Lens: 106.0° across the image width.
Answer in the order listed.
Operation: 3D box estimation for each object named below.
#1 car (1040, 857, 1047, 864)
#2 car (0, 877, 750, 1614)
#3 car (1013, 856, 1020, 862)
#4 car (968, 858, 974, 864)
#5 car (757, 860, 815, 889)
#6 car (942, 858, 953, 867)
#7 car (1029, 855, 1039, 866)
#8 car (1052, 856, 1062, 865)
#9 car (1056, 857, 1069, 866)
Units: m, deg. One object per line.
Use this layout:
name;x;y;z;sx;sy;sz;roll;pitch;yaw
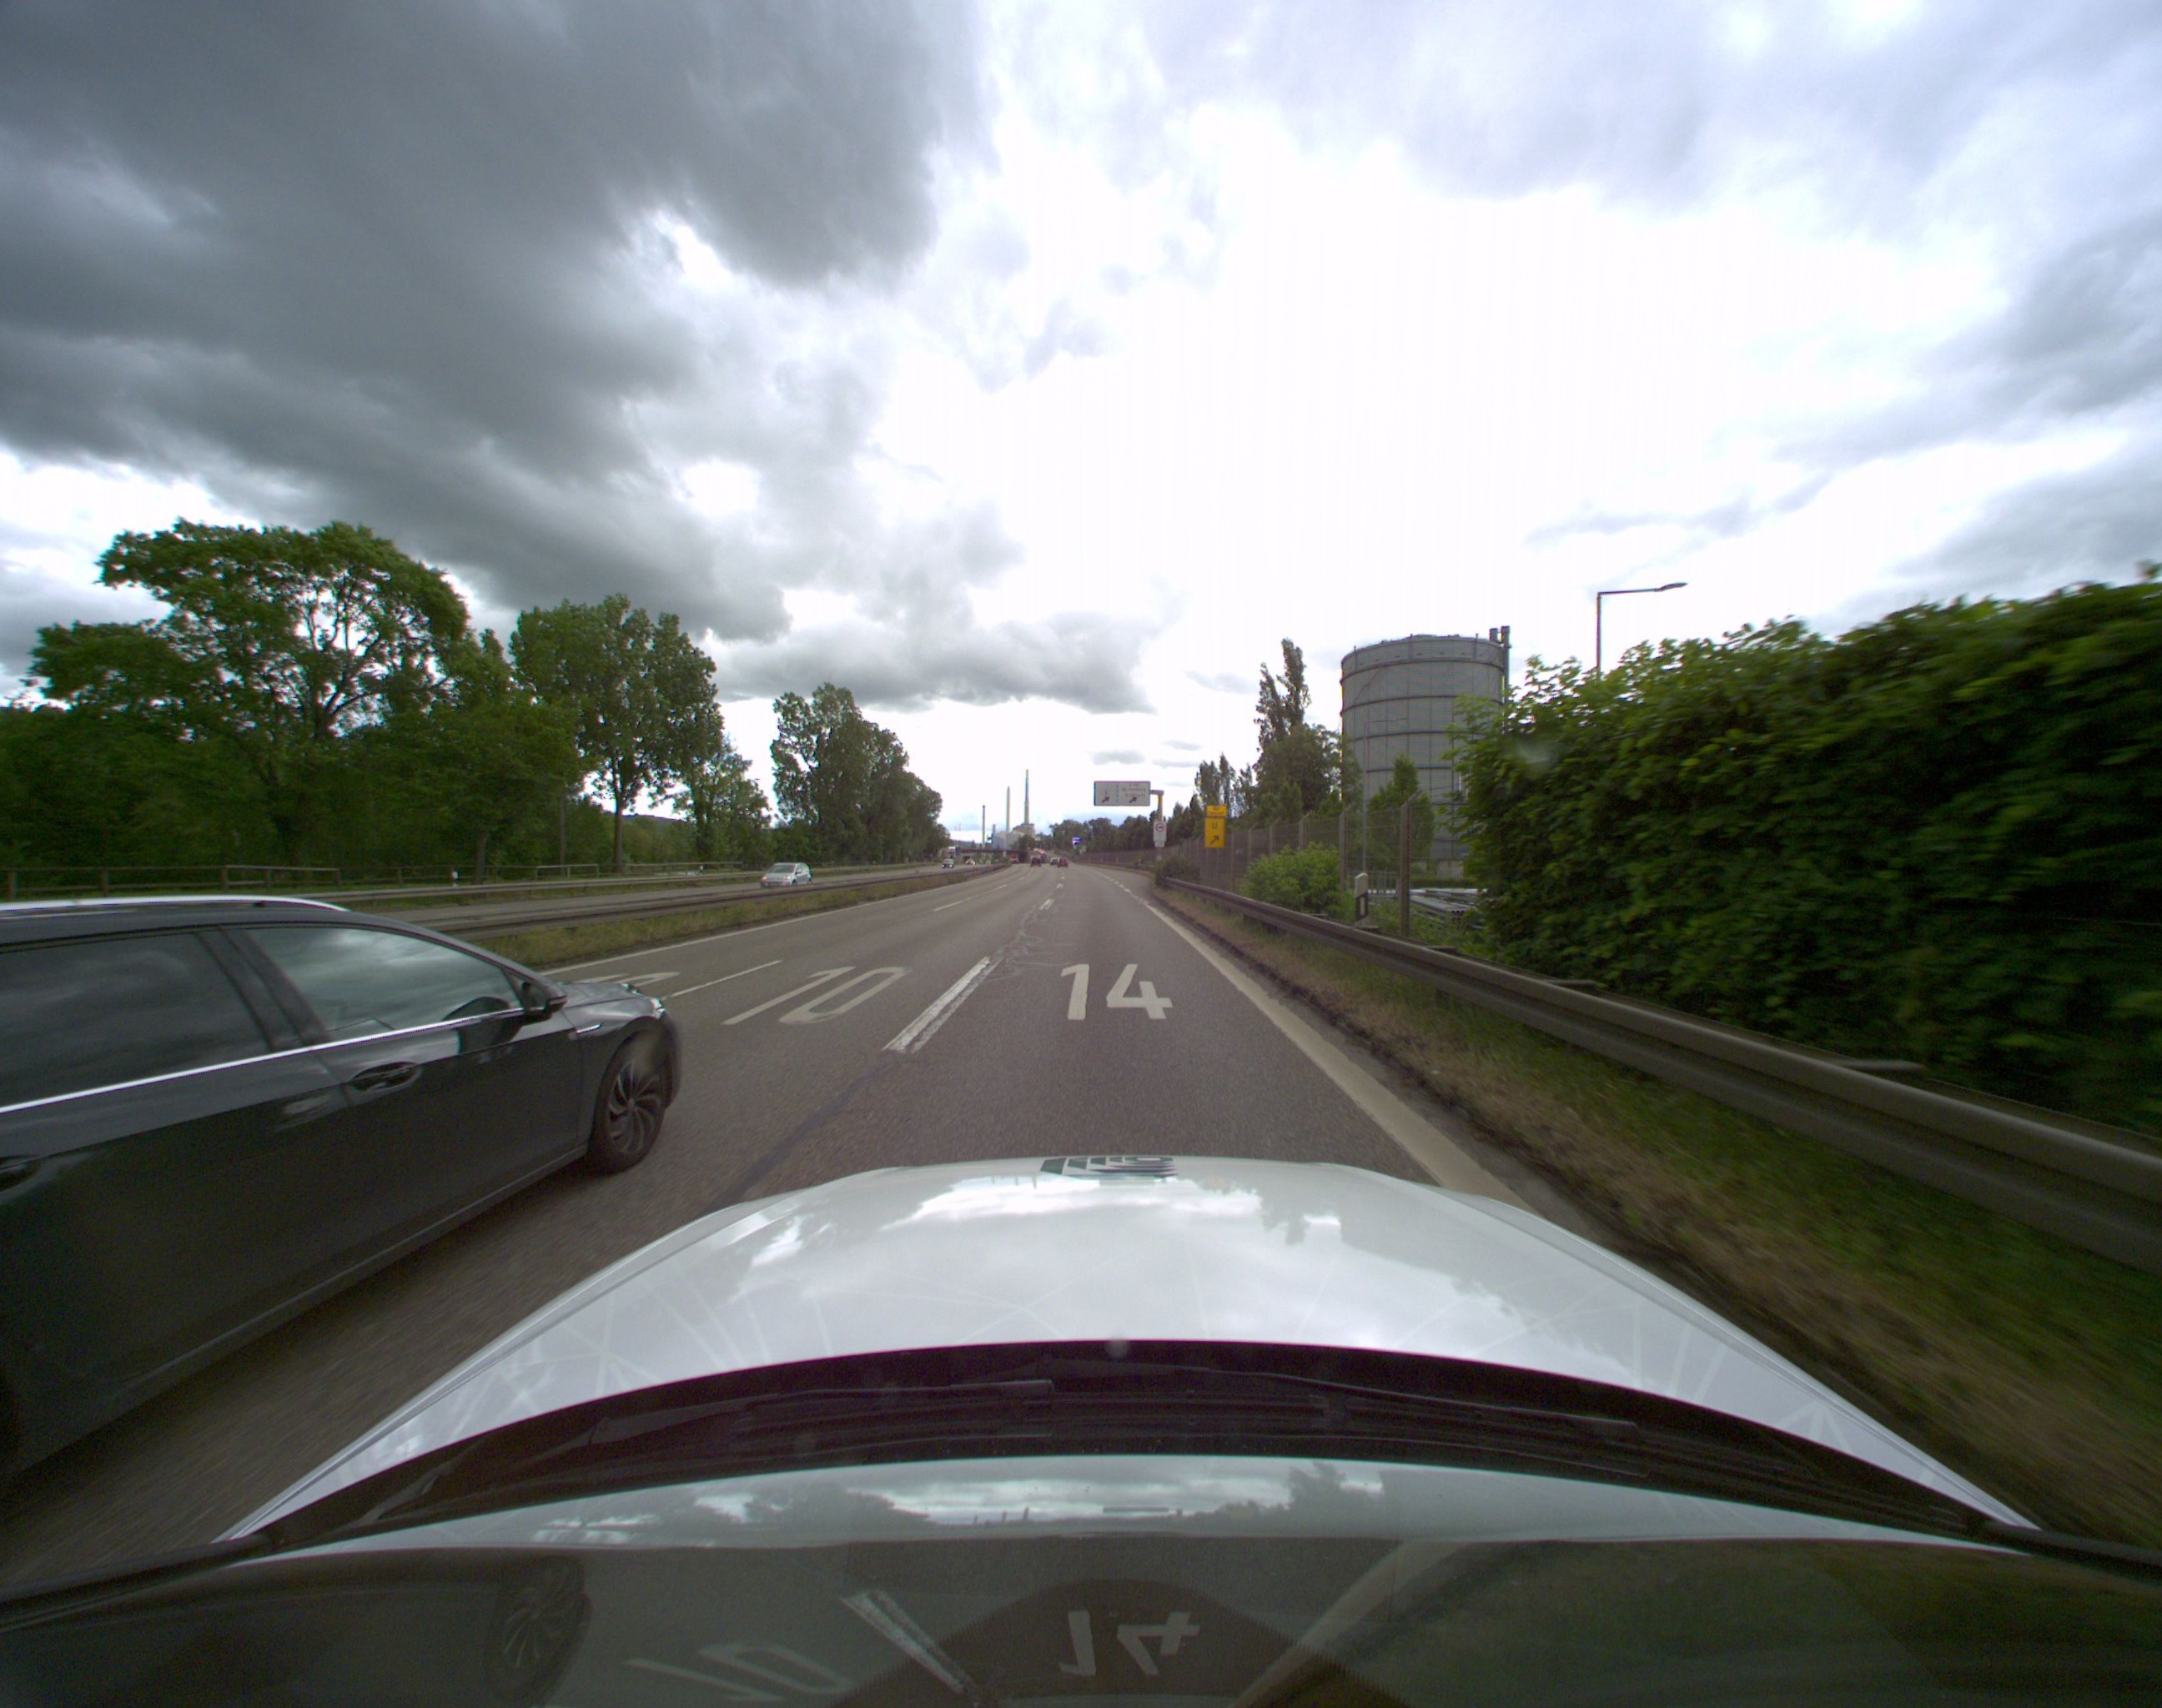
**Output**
car;-9.248;1.562;201.164;1.695;1.555;4.390;-1;0;-5
car;-3.170;0.880;2.934;1.838;1.423;4.901;1;0;1
car;-18.406;1.440;232.285;1.697;1.742;4.379;-1;0;-9
car;-28.680;1.887;212.345;1.696;1.413;4.627;-1;0;-7
car;-15.098;1.025;41.913;1.609;1.386;3.732;0;0;0
car;-22.743;1.370;138.806;1.695;1.413;4.628;-1;0;-6
car;-8.328;1.148;145.299;1.695;1.742;3.993;-1;0;-5
car;-4.693;1.186;159.581;1.695;1.742;4.384;-1;0;-6
car;-2.974;1.250;131.400;1.970;1.423;4.895;-1;0;-3
